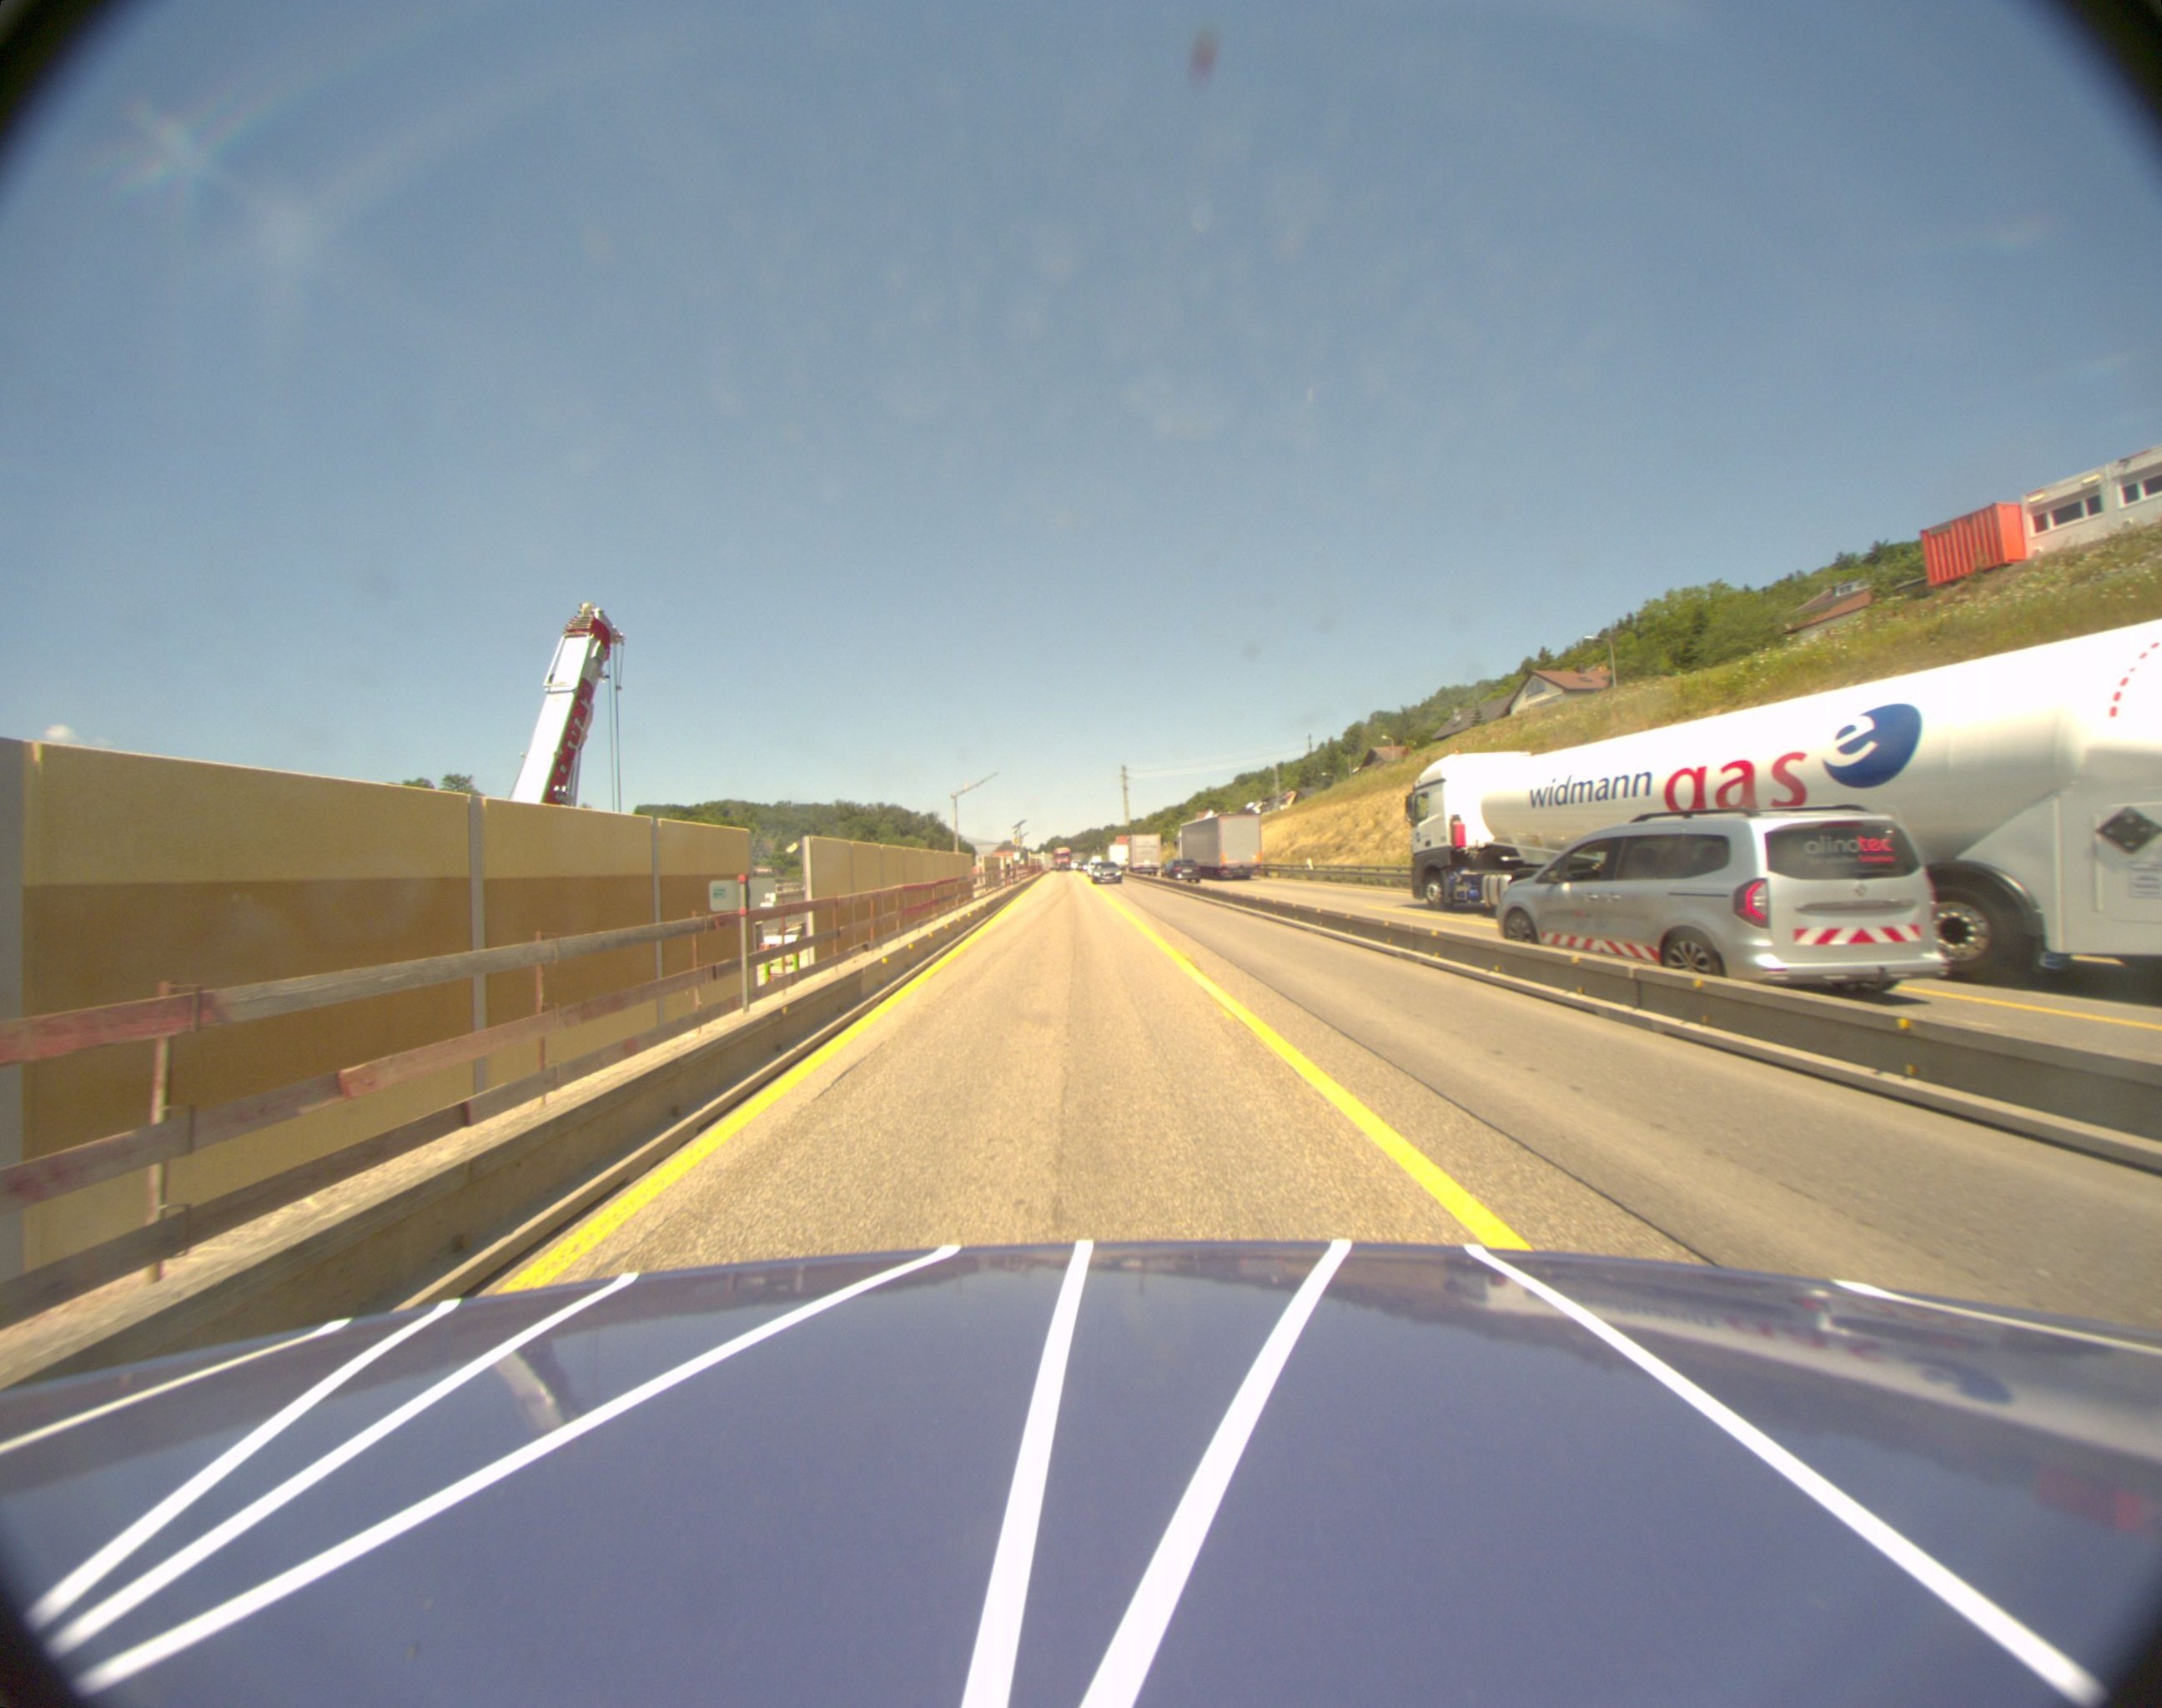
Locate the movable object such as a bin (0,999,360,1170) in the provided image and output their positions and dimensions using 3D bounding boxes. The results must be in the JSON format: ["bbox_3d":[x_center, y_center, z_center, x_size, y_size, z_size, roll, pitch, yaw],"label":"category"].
[{"bbox_3d":[-25.957,6.217,21.657,3.171,2.431,7.894,-4,0,-1],"label":"movable object such as a bin"}]

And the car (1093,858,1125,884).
[{"bbox_3d":[1.721,1.079,47.999,1.780,1.447,4.336,-2,-1,-1],"label":"car"}]

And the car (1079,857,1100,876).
[{"bbox_3d":[0.776,1.167,70.625,1.780,1.682,4.336,-2,-1,-1],"label":"car"}]

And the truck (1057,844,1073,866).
[{"bbox_3d":[-2.719,0.255,133.505,2.606,3.703,10.536,-2,-1,-1],"label":"truck"}]

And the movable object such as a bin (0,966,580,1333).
[{"bbox_3d":[-14.256,4.685,14.799,2.974,3.467,9.150,-4,0,-2],"label":"movable object such as a bin"}]

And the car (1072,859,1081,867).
[{"bbox_3d":[-0.873,1.840,153.310,1.780,1.485,4.336,-2,-1,-1],"label":"car"}]

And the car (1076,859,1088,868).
[{"bbox_3d":[0.166,1.608,128.065,1.780,1.485,4.336,-2,-1,-1],"label":"car"}]

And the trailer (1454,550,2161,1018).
[{"bbox_3d":[9.940,-0.577,11.299,2.597,3.779,11.916,-3,0,-1],"label":"trailer"}]

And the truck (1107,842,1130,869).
[{"bbox_3d":[4.877,0.258,100.257,2.545,3.354,7.037,-3,0,-1],"label":"truck"}]

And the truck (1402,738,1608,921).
[{"bbox_3d":[9.794,-0.519,18.007,2.597,3.779,3.766,-3,0,-1],"label":"truck"}]

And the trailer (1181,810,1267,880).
[{"bbox_3d":[9.231,-0.479,51.234,2.705,4.001,13.700,-3,0,-2],"label":"trailer"}]

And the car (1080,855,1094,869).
[{"bbox_3d":[0.813,1.128,106.687,1.780,1.727,4.336,-2,-1,-1],"label":"car"}]

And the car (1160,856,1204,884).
[{"bbox_3d":[5.883,0.888,44.748,1.784,1.449,4.719,-3,0,-2],"label":"car"}]

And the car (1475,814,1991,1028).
[{"bbox_3d":[6.606,0.570,8.568,1.885,1.734,4.482,-1,0,-1],"label":"car"}]

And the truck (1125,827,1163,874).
[{"bbox_3d":[5.350,-0.251,65.345,2.596,3.736,7.359,-3,0,1],"label":"truck"}]

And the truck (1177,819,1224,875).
[{"bbox_3d":[9.054,-0.508,57.898,2.705,4.026,3.954,-3,0,-2],"label":"truck"}]

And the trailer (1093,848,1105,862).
[{"bbox_3d":[5.847,0.399,243.897,2.793,4.157,13.976,-2,-1,-2],"label":"trailer"}]
